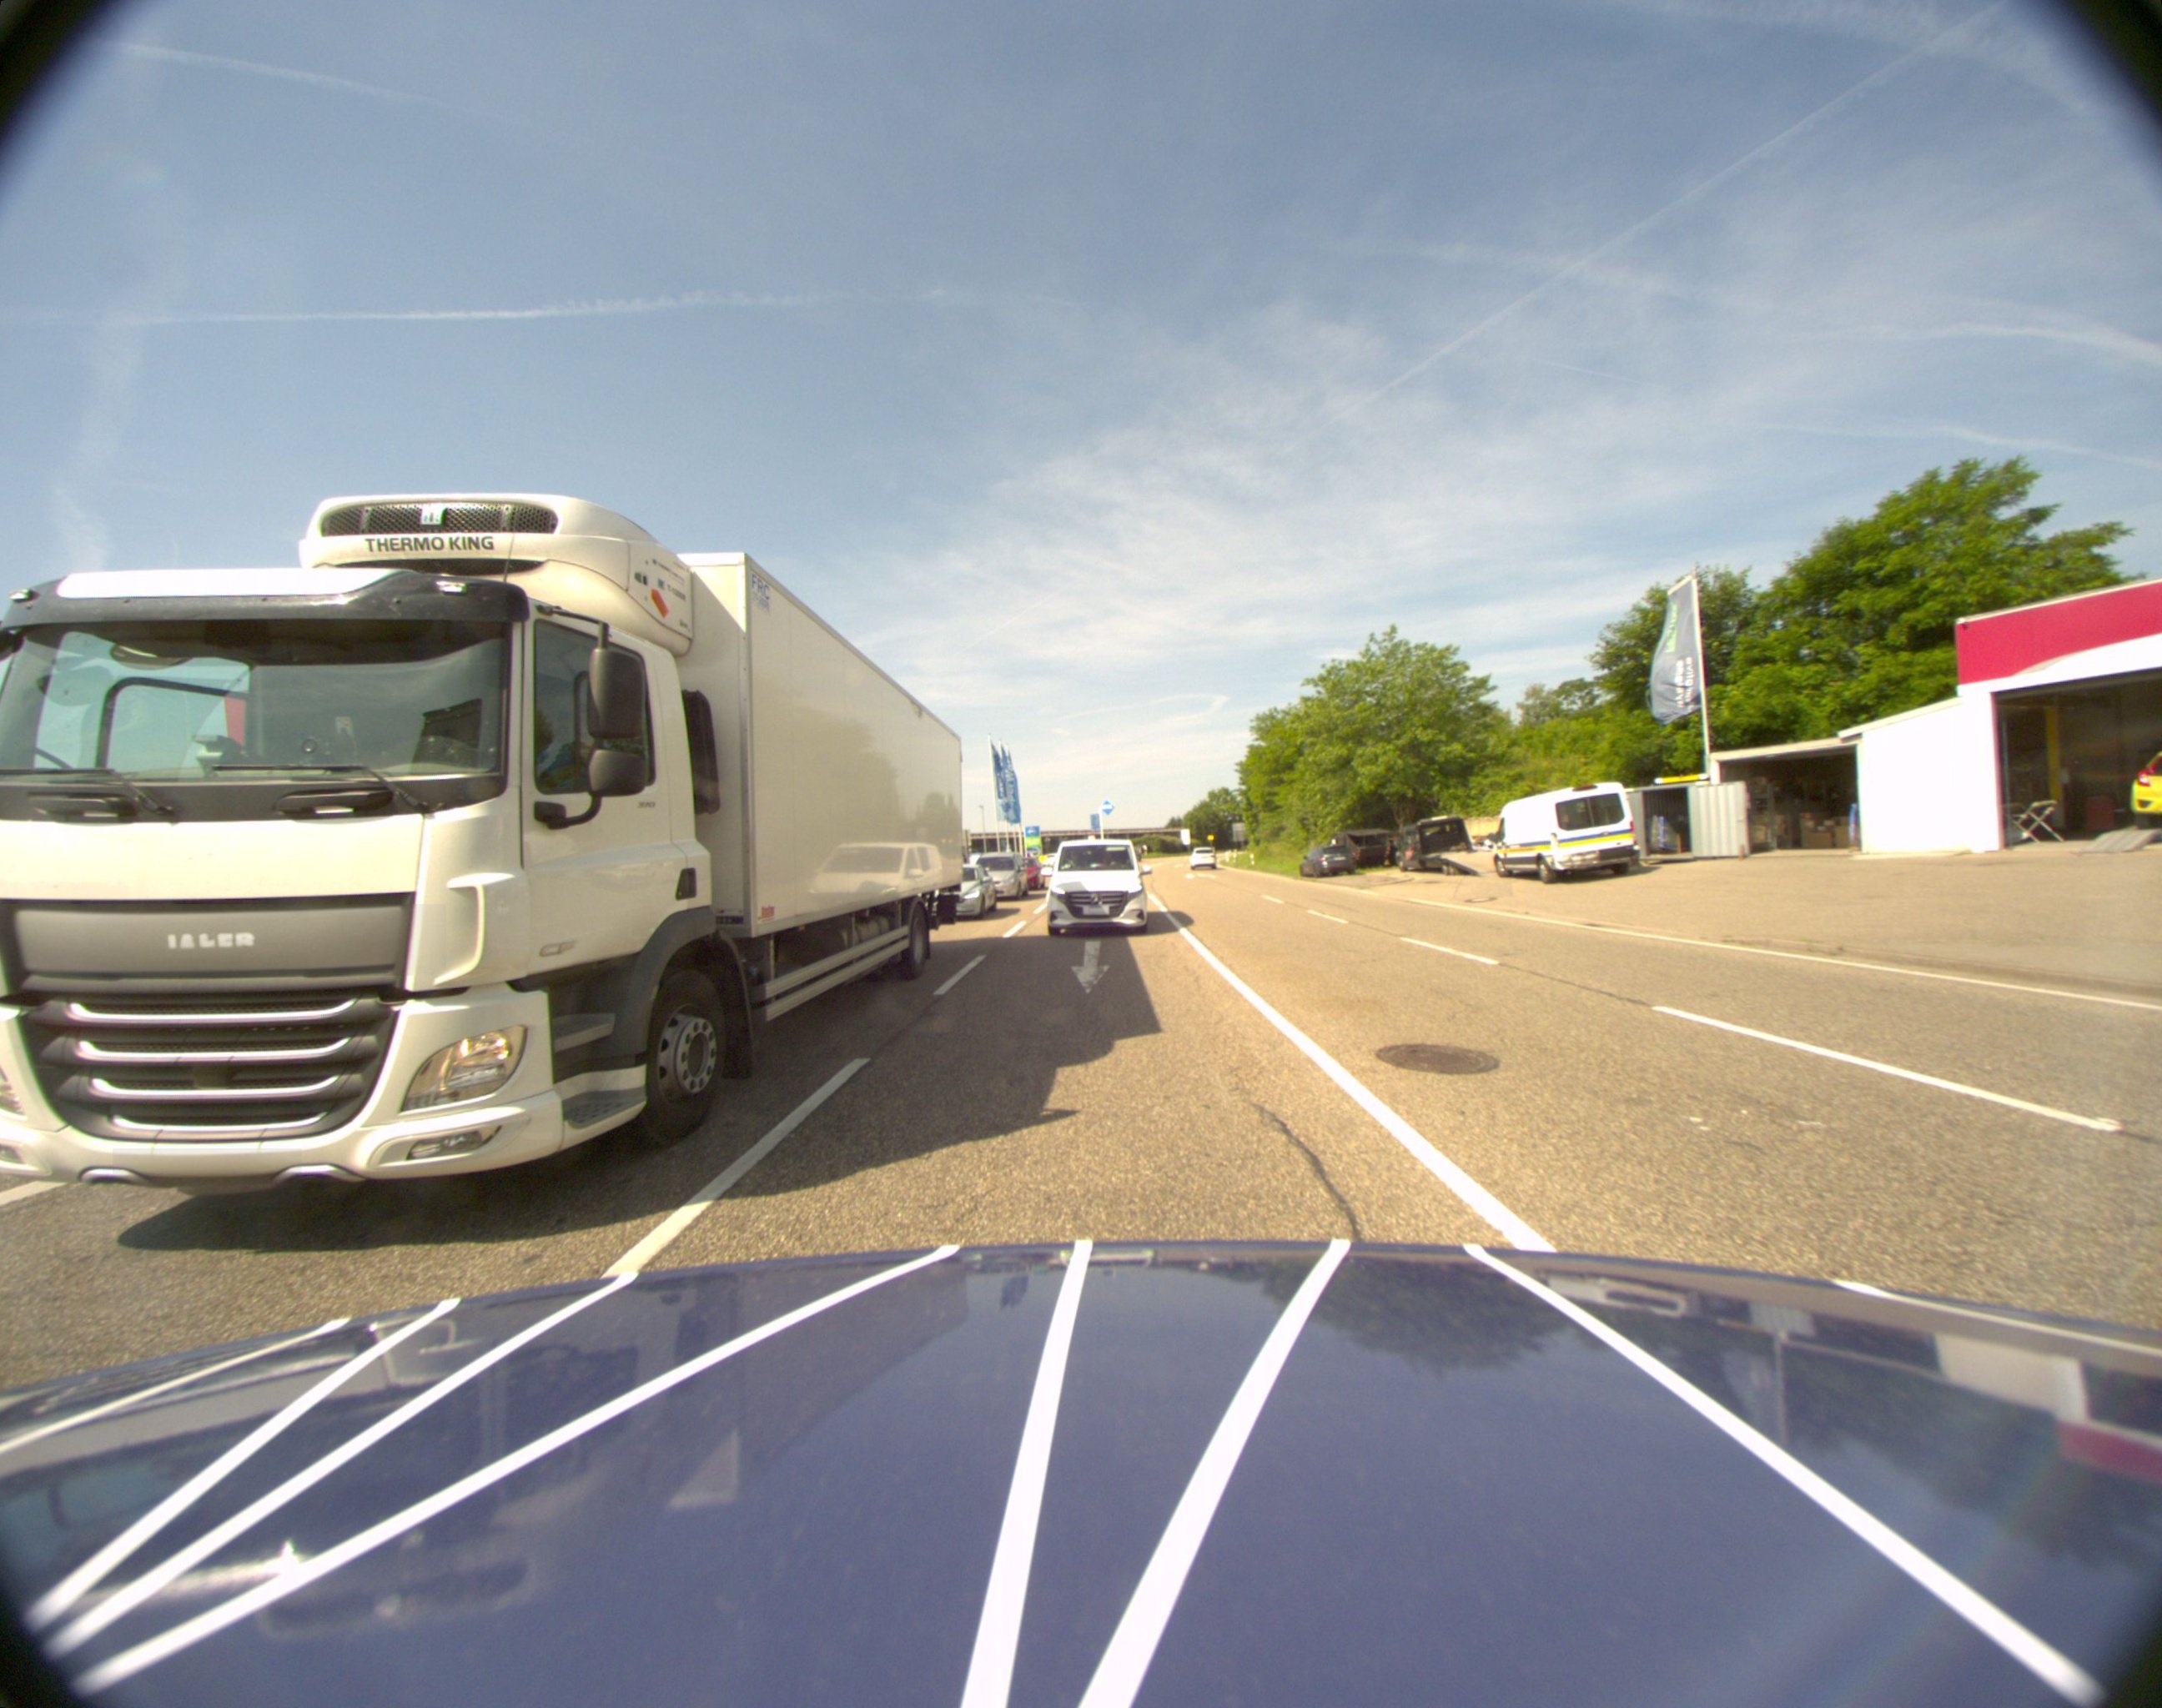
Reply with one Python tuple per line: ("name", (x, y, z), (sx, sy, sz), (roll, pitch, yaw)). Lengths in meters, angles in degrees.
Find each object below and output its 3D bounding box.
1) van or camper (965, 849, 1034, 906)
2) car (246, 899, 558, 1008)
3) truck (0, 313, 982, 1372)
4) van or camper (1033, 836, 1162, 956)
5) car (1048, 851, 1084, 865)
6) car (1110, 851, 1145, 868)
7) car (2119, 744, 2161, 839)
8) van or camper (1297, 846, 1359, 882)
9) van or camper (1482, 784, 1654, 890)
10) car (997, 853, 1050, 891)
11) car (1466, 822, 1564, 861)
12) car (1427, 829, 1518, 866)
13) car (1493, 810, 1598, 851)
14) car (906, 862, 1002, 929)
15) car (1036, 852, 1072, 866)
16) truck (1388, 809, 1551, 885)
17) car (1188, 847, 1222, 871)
("van or camper", (-2.883, 0.772, 27.970), (1.751, 1.777, 5.133), (-3, 0, 1))
("car", (-11.242, 1.588, 12.911), (3.599, 1.401, 1.560), (-2, 1, -23))
("truck", (-3.463, -0.012, 8.361), (2.886, 3.789, 11.141), (-3, 0, 1))
("van or camper", (0.549, 0.741, 15.654), (1.997, 2.002, 5.293), (-2, 0, 8))
("car", (-1.985, 0.582, 99.992), (4.248, 1.628, 1.825), (-3, -1, 28))
("car", (5.184, 0.569, 84.166), (1.864, 1.632, 4.429), (-3, 1, 34))
("car", (21.822, -1.340, 14.395), (3.674, 1.715, 1.736), (-7, 2, -23))
("van or camper", (11.634, 0.430, 36.082), (1.643, 1.515, 4.468), (-4, 1, 3))
("van or camper", (13.981, -0.478, 22.352), (2.158, 2.484, 5.955), (-7, 0, 13))
("car", (-2.515, 0.771, 34.182), (1.805, 1.563, 3.714), (-1, 1, 4))
("car", (19.349, -0.552, 33.903), (3.674, 1.460, 1.737), (-4, 1, -19))
("car", (18.339, -0.298, 35.616), (3.674, 1.502, 1.714), (-4, 1, -21))
("car", (19.495, -0.968, 31.905), (3.674, 1.460, 1.737), (-4, 1, -19))
("car", (-3.251, 1.020, 20.226), (1.739, 1.420, 4.224), (-3, 0, 0))
("car", (-3.558, 0.650, 98.451), (4.248, 1.628, 1.825), (-3, -1, 28))
("truck", (14.955, -0.269, 30.217), (2.336, 2.283, 8.805), (-8, 0, 4))
("car", (9.033, 0.358, 55.635), (1.940, 1.664, 4.000), (-1, 0, 3))
